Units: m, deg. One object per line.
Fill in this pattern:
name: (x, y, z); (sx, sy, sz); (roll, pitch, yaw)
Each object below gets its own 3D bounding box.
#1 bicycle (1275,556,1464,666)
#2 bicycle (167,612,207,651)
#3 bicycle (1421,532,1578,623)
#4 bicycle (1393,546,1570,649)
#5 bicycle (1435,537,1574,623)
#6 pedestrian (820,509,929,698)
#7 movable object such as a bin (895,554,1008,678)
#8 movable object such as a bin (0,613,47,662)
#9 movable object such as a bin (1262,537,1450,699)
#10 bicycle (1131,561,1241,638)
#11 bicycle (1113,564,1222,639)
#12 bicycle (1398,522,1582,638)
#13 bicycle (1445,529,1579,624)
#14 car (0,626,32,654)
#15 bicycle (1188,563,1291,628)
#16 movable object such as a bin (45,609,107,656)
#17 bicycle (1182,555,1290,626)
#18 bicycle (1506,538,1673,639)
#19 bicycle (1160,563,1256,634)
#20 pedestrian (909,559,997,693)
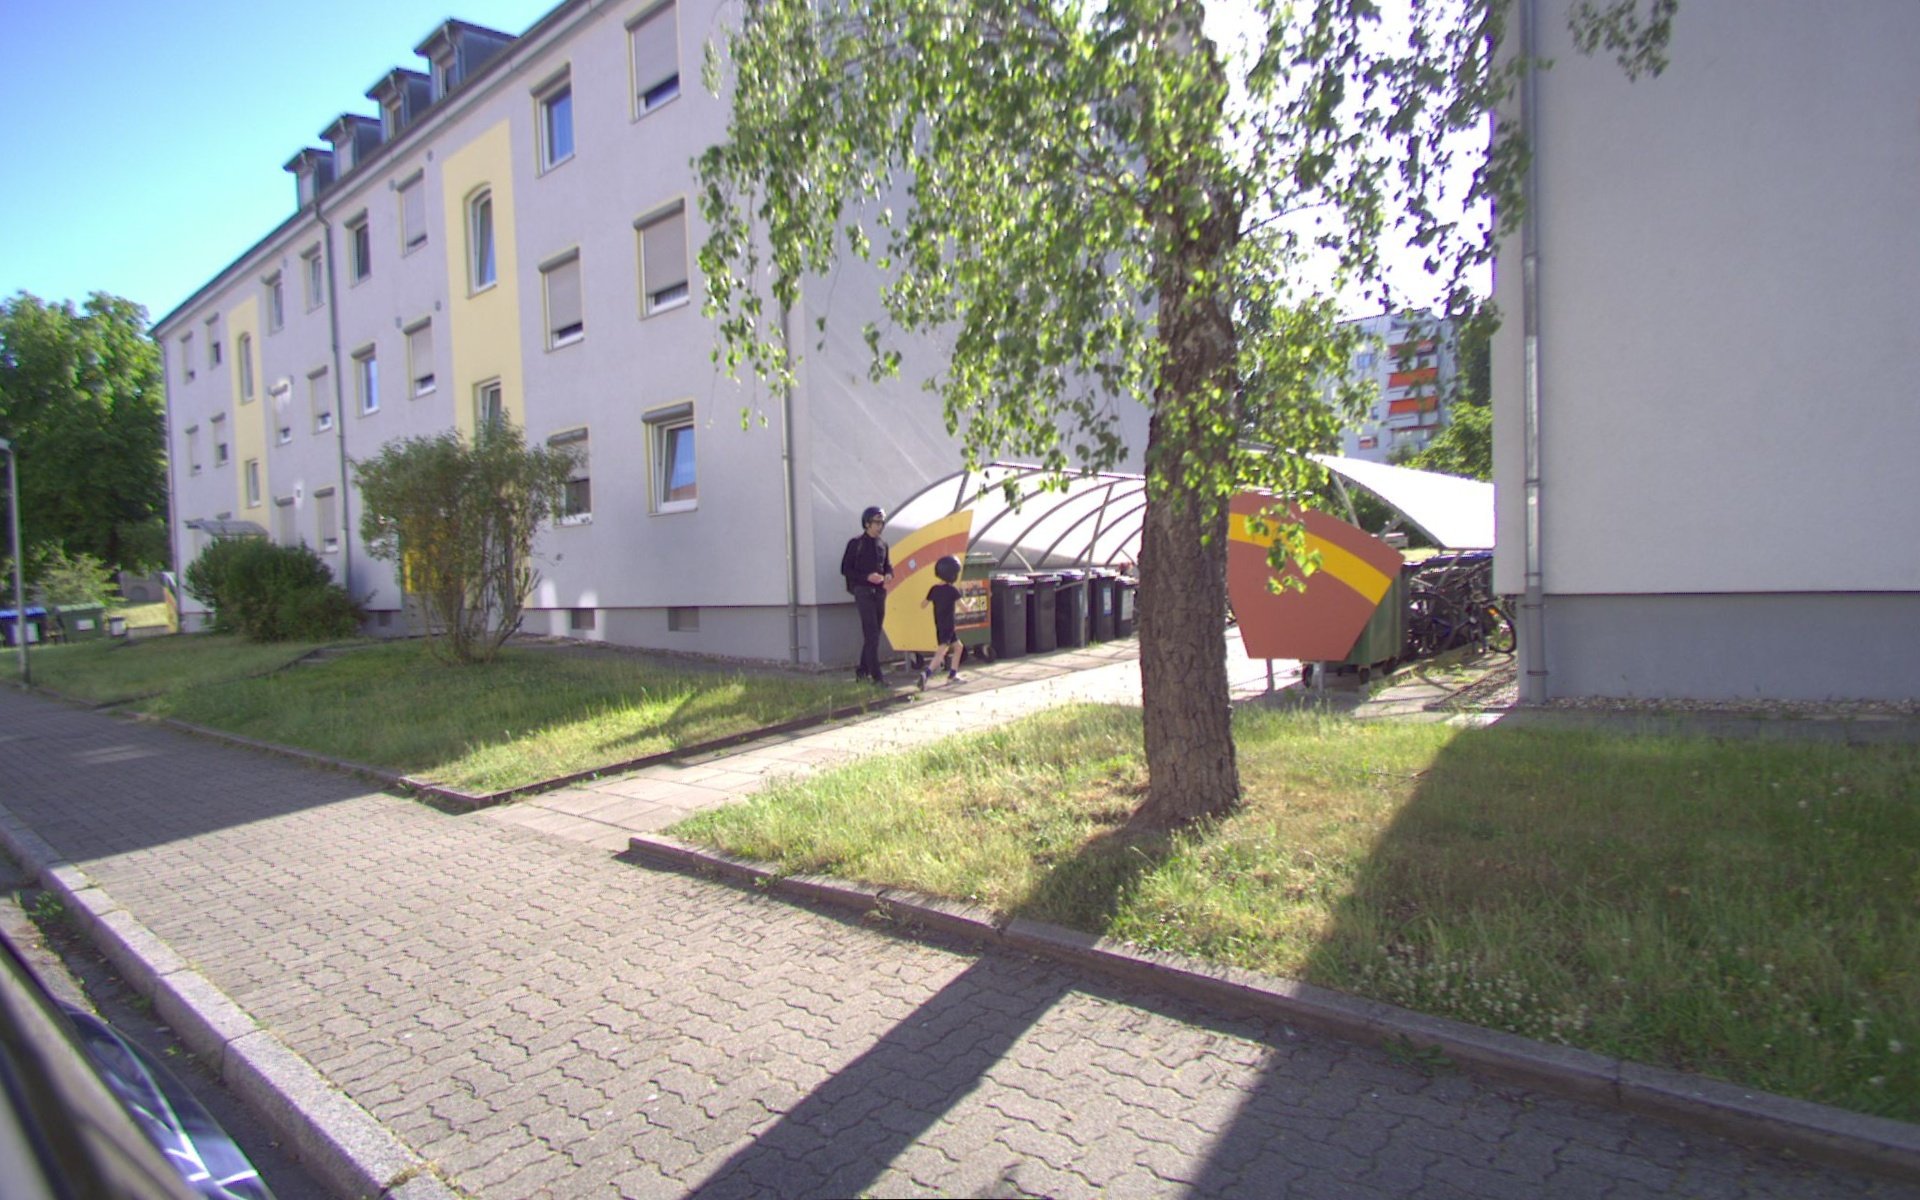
bicycle: (4.511, 0.128, 11.237); (1.848, 1.125, 0.527); (-2, 2, 40)
bicycle: (-26.345, 1.080, 34.480); (2.008, 1.260, 0.633); (-2, 1, 41)
bicycle: (7.892, -0.306, 14.864); (1.943, 1.244, 0.522); (-2, -1, 40)
bicycle: (6.266, -0.005, 12.240); (1.834, 1.163, 0.425); (-2, -1, 40)
bicycle: (8.270, -0.278, 15.418); (1.769, 1.228, 0.496); (-2, -1, 40)
pedestrian: (-0.876, 0.033, 10.378); (0.718, 1.837, 0.797); (-1, 0, 41)
movable object such as a bin: (-0.100, 0.177, 12.265); (0.812, 1.416, 1.073); (-2, 1, 41)
movable object such as a bin: (-31.524, 1.259, 33.761); (1.082, 1.470, 1.342); (-2, 5, 40)
movable object such as a bin: (3.719, 0.134, 9.467); (1.227, 1.345, 1.374); (-2, 2, 40)
bicycle: (3.694, 0.008, 16.607); (1.734, 1.200, 0.450); (-2, -1, 40)
bicycle: (3.298, 0.040, 16.198); (1.684, 1.153, 0.457); (-2, -1, 40)
bicycle: (6.876, -0.221, 13.209); (2.012, 1.408, 0.611); (-2, -1, 40)
bicycle: (8.606, -0.333, 15.825); (1.757, 1.408, 0.460); (-2, -1, 40)
car: (-52.985, 2.218, 54.642); (1.728, 1.508, 4.088); (-2, 0, 40)
bicycle: (5.028, -0.064, 18.278); (1.720, 1.113, 0.522); (-2, 0, 40)
movable object such as a bin: (-30.538, 1.105, 34.980); (1.072, 1.463, 1.347); (-2, 5, 40)
bicycle: (4.753, -0.144, 17.507); (1.720, 1.149, 0.522); (-2, -1, 40)
bicycle: (8.202, -0.119, 13.238); (1.788, 1.244, 0.464); (-2, -1, 40)
bicycle: (4.152, -0.006, 17.005); (1.525, 1.136, 0.401); (-2, -1, 40)
pedestrian: (-0.067, 0.253, 10.418); (0.575, 1.327, 0.679); (-1, 0, 41)
